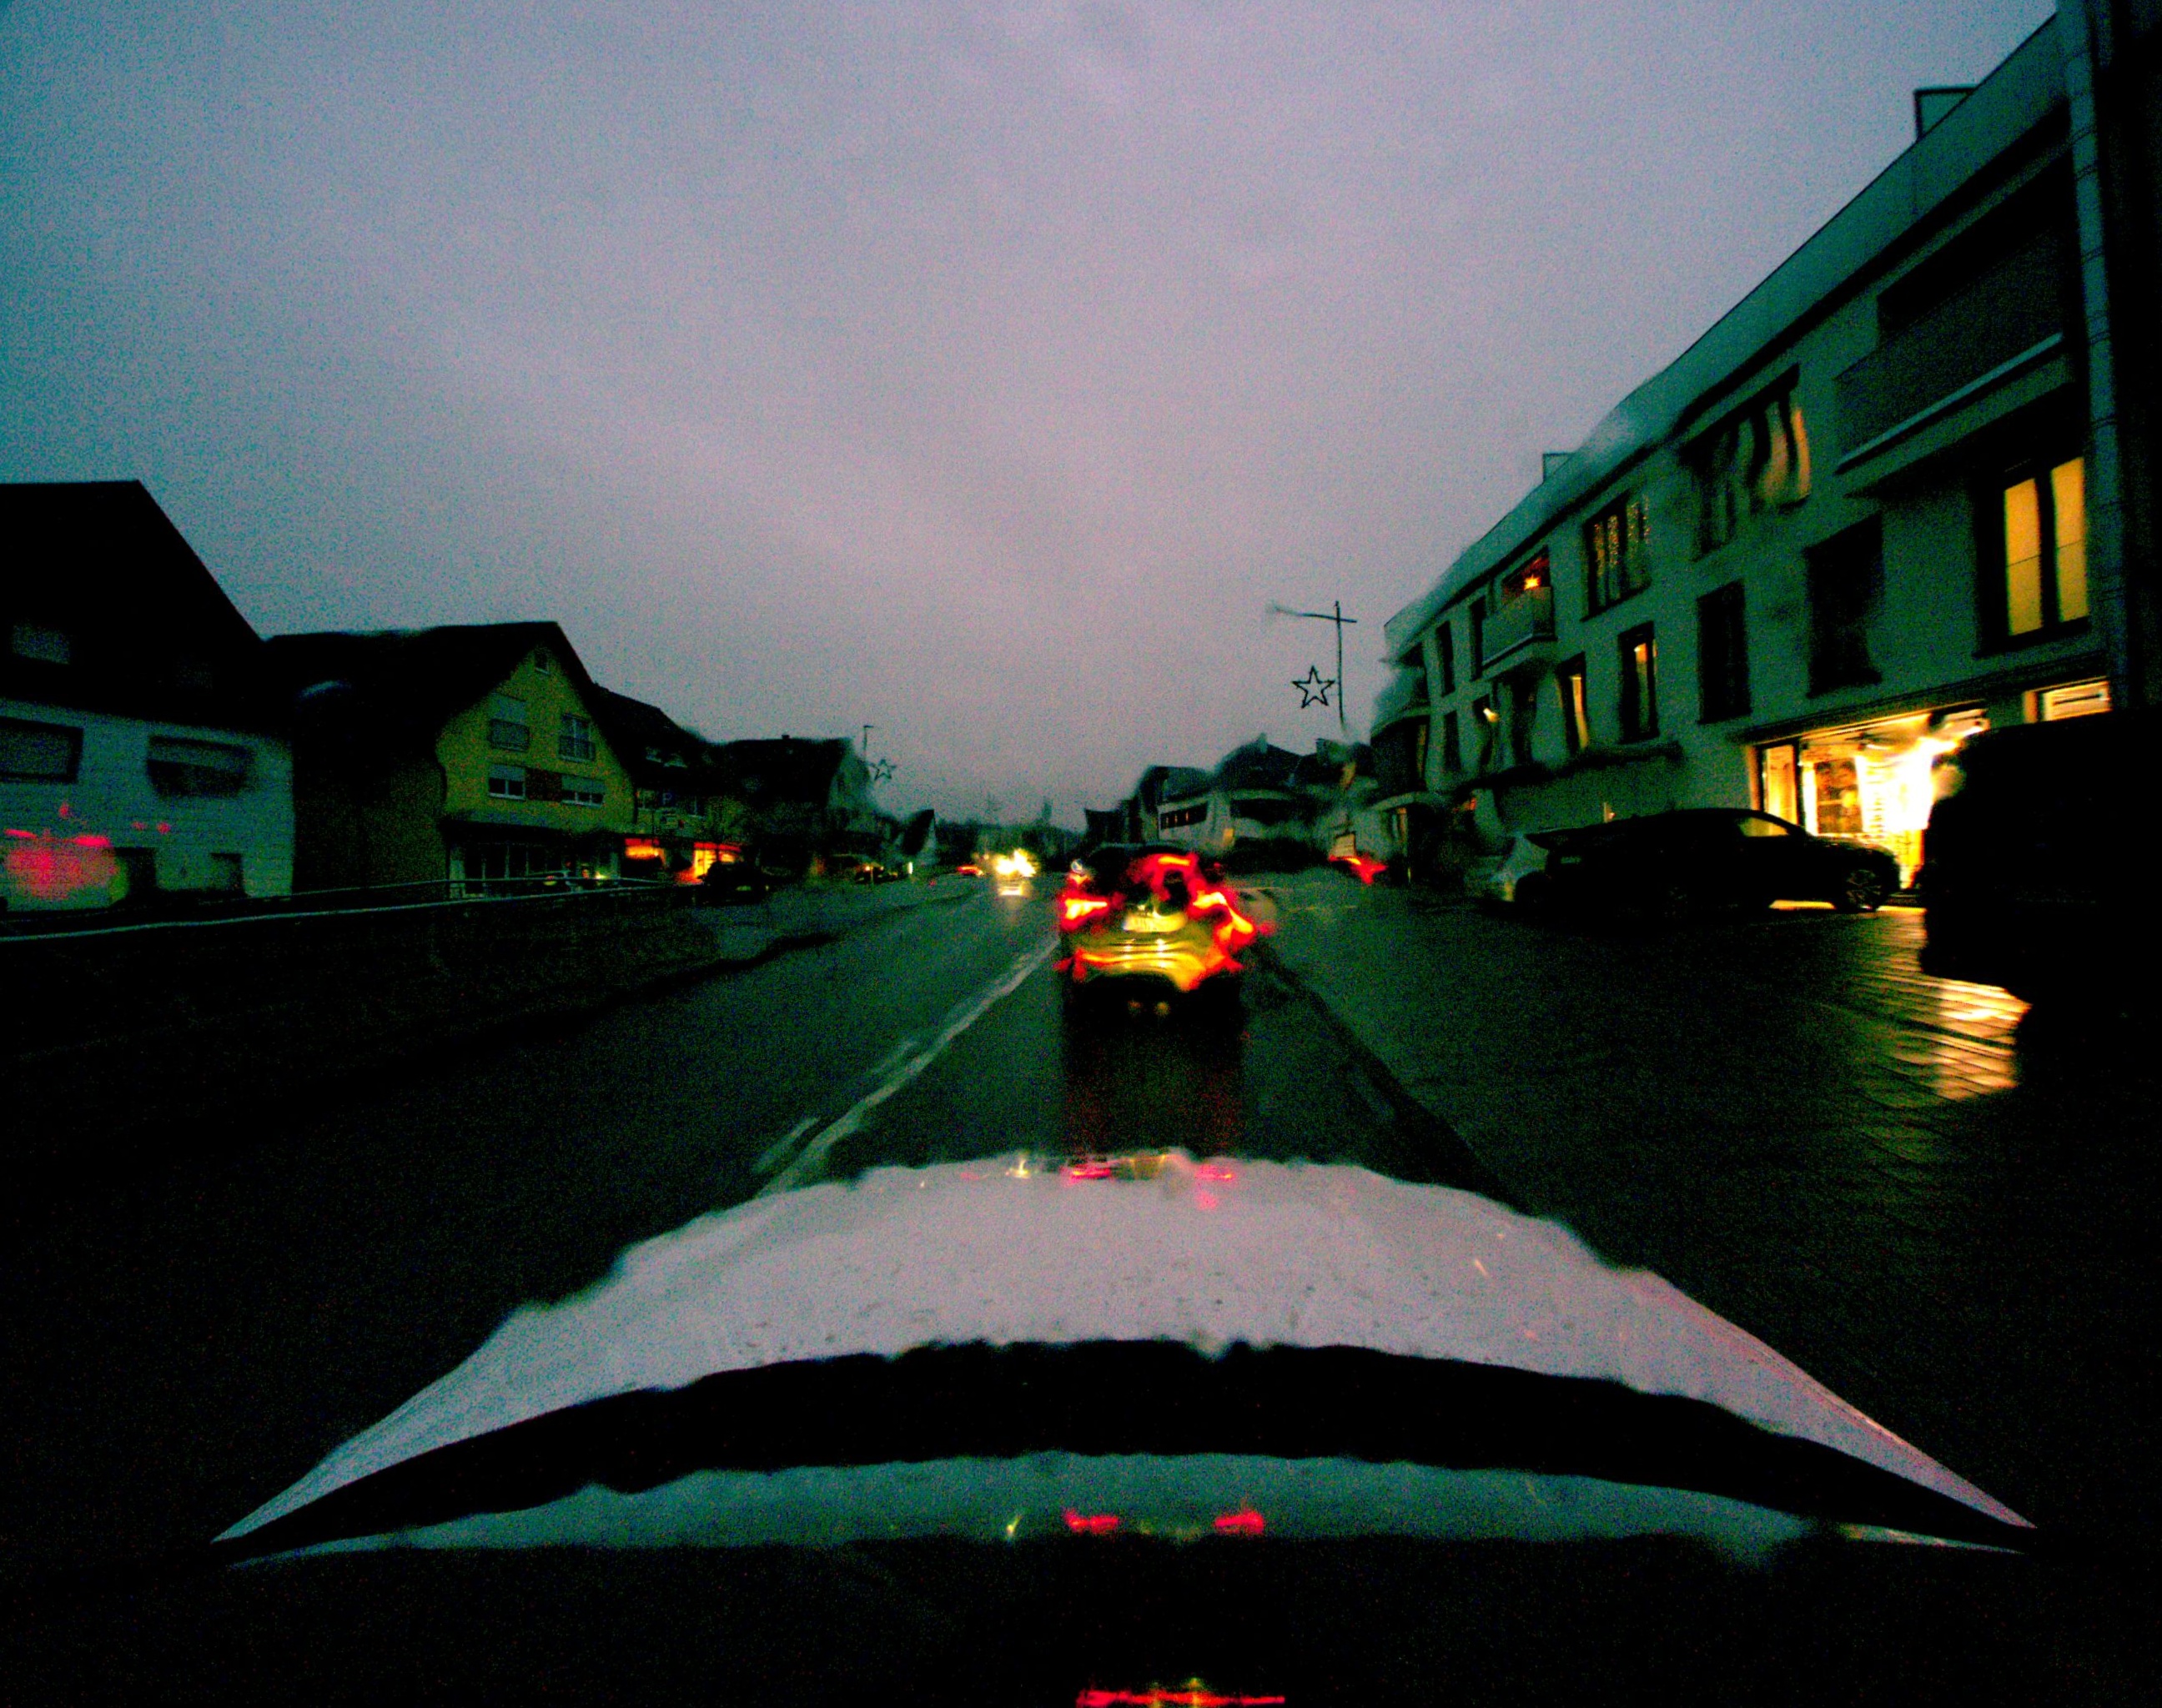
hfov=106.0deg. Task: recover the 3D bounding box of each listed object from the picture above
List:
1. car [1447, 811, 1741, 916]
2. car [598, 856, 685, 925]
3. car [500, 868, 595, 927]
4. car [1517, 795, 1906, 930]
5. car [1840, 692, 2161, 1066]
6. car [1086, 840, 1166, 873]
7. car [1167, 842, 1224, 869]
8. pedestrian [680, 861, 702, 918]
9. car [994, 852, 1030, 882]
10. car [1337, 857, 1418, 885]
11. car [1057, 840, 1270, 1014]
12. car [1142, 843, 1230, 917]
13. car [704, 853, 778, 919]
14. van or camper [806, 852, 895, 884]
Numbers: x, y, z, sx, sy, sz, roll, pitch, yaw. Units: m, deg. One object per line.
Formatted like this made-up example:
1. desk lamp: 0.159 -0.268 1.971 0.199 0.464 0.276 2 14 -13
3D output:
1. car: 9.165 0.167 14.776 4.196 1.460 1.791 -4 -1 -3
2. car: -13.798 1.068 25.777 2.047 1.925 4.024 -2 0 -24
3. car: -16.704 1.290 25.689 1.830 1.613 4.024 -2 0 -24
4. car: 8.844 0.109 11.661 4.196 1.460 1.791 -4 -1 -3
5. car: 7.798 -0.120 4.827 4.547 1.920 1.950 -7 -1 1
6. car: 2.322 0.128 41.855 3.969 1.418 2.002 -3 -1 4
7. car: 8.862 0.126 63.542 2.171 1.991 4.457 -1 0 -29
8. pedestrian: -12.007 1.069 25.059 0.498 1.701 0.707 -3 0 -24
9. car: -5.227 0.964 61.961 1.984 2.204 4.423 0 -1 5
10. car: 16.826 0.998 46.310 3.999 1.479 1.987 2 -3 -19
11. car: 0.888 0.671 9.674 1.956 1.594 4.317 0 0 3
12. car: 2.252 0.518 18.299 1.675 1.453 4.004 -1 0 3
13. car: -11.177 0.996 26.725 2.047 1.925 4.024 -2 0 -24
14. van or camper: -15.524 0.957 54.883 5.488 1.954 2.009 -2 0 16
